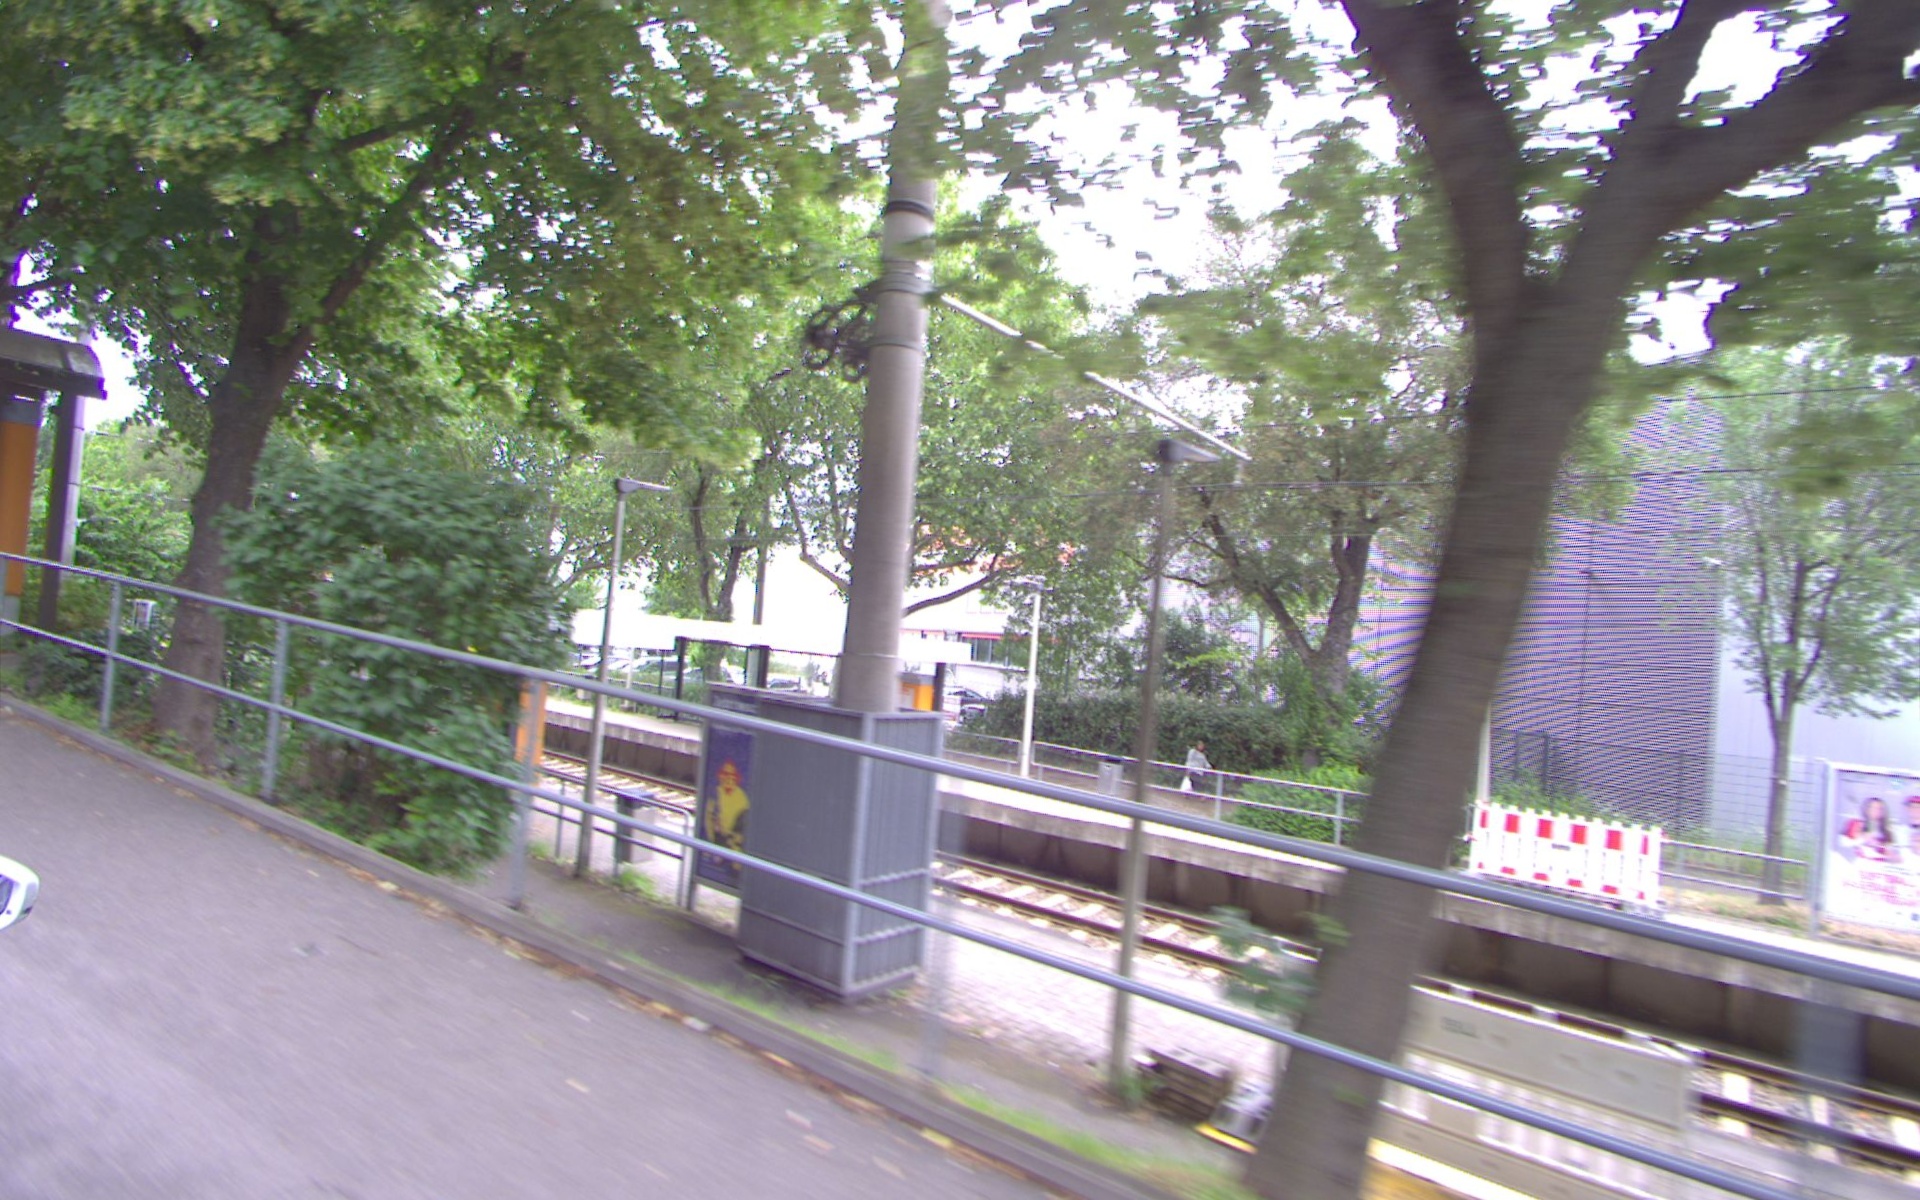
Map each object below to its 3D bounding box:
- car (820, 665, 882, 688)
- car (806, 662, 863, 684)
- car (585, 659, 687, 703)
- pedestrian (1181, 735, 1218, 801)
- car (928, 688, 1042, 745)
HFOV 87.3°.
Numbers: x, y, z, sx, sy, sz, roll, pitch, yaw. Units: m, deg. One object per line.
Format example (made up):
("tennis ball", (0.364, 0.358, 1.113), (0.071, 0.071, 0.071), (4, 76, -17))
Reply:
("car", (-8.277, 5.829, 76.331), (4.280, 1.487, 1.991), (3, 0, -22))
("car", (-10.407, 6.095, 83.516), (4.283, 1.487, 1.990), (4, 0, -24))
("car", (-16.908, 4.277, 52.678), (1.972, 1.812, 4.565), (6, -3, 40))
("pedestrian", (6.598, 4.611, 27.702), (0.687, 1.716, 0.531), (8, -1, -42))
("car", (0.985, 4.527, 38.965), (3.973, 1.722, 1.978), (9, -2, -41))
